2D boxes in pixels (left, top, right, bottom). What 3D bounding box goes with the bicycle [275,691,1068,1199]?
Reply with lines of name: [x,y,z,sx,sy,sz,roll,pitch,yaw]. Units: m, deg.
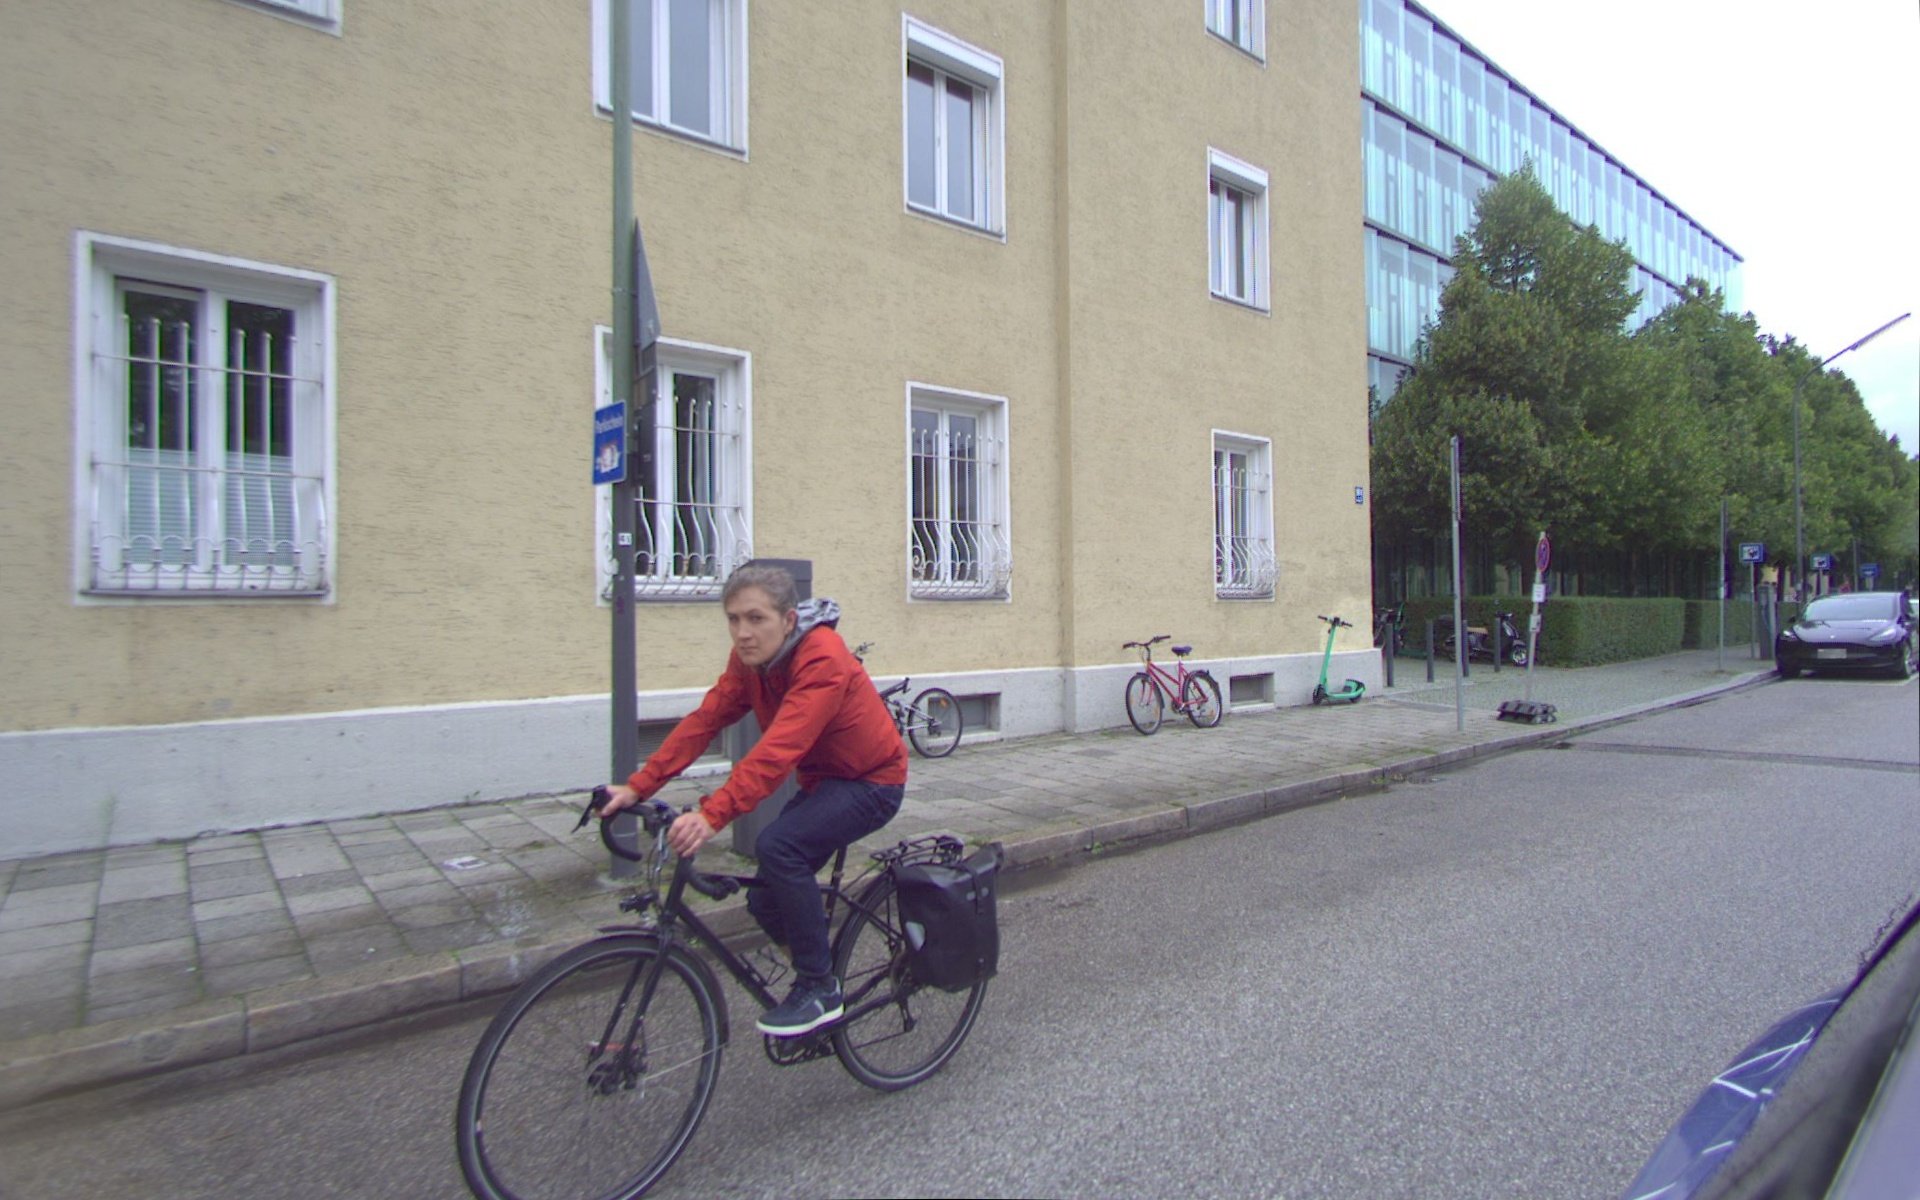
bicycle: [-0.616,0.905,2.750,1.978,1.156,0.672,-1,-2,-44]

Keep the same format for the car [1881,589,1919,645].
car: [29.030,0.461,29.949,4.764,1.572,1.965,-1,-2,-40]

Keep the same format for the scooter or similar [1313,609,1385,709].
scooter or similar: [5.273,0.767,13.684,1.286,1.271,0.342,-1,1,-41]

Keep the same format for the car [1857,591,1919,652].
car: [25.039,0.501,26.364,4.873,1.479,1.995,0,-2,-43]

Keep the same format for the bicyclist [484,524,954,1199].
bicyclist: [-0.644,0.598,2.747,0.965,1.502,0.755,0,-2,-44]

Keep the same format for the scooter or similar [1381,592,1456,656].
scooter or similar: [10.026,0.505,22.157,0.659,1.318,1.349,-3,2,-43]

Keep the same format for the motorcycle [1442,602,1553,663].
motorcycle: [11.036,0.642,20.846,0.695,1.147,1.899,0,2,-39]

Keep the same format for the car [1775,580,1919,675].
car: [18.124,0.494,20.024,5.007,1.652,1.997,-1,-2,-39]

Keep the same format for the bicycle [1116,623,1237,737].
bicycle: [2.440,0.851,11.278,1.728,1.150,0.342,0,-1,-41]

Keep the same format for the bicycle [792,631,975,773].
bicycle: [-0.644,0.864,9.060,1.782,1.095,0.342,-1,2,-41]

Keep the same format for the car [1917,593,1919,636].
car: [33.470,0.496,33.661,4.919,1.572,1.949,0,-2,-42]
